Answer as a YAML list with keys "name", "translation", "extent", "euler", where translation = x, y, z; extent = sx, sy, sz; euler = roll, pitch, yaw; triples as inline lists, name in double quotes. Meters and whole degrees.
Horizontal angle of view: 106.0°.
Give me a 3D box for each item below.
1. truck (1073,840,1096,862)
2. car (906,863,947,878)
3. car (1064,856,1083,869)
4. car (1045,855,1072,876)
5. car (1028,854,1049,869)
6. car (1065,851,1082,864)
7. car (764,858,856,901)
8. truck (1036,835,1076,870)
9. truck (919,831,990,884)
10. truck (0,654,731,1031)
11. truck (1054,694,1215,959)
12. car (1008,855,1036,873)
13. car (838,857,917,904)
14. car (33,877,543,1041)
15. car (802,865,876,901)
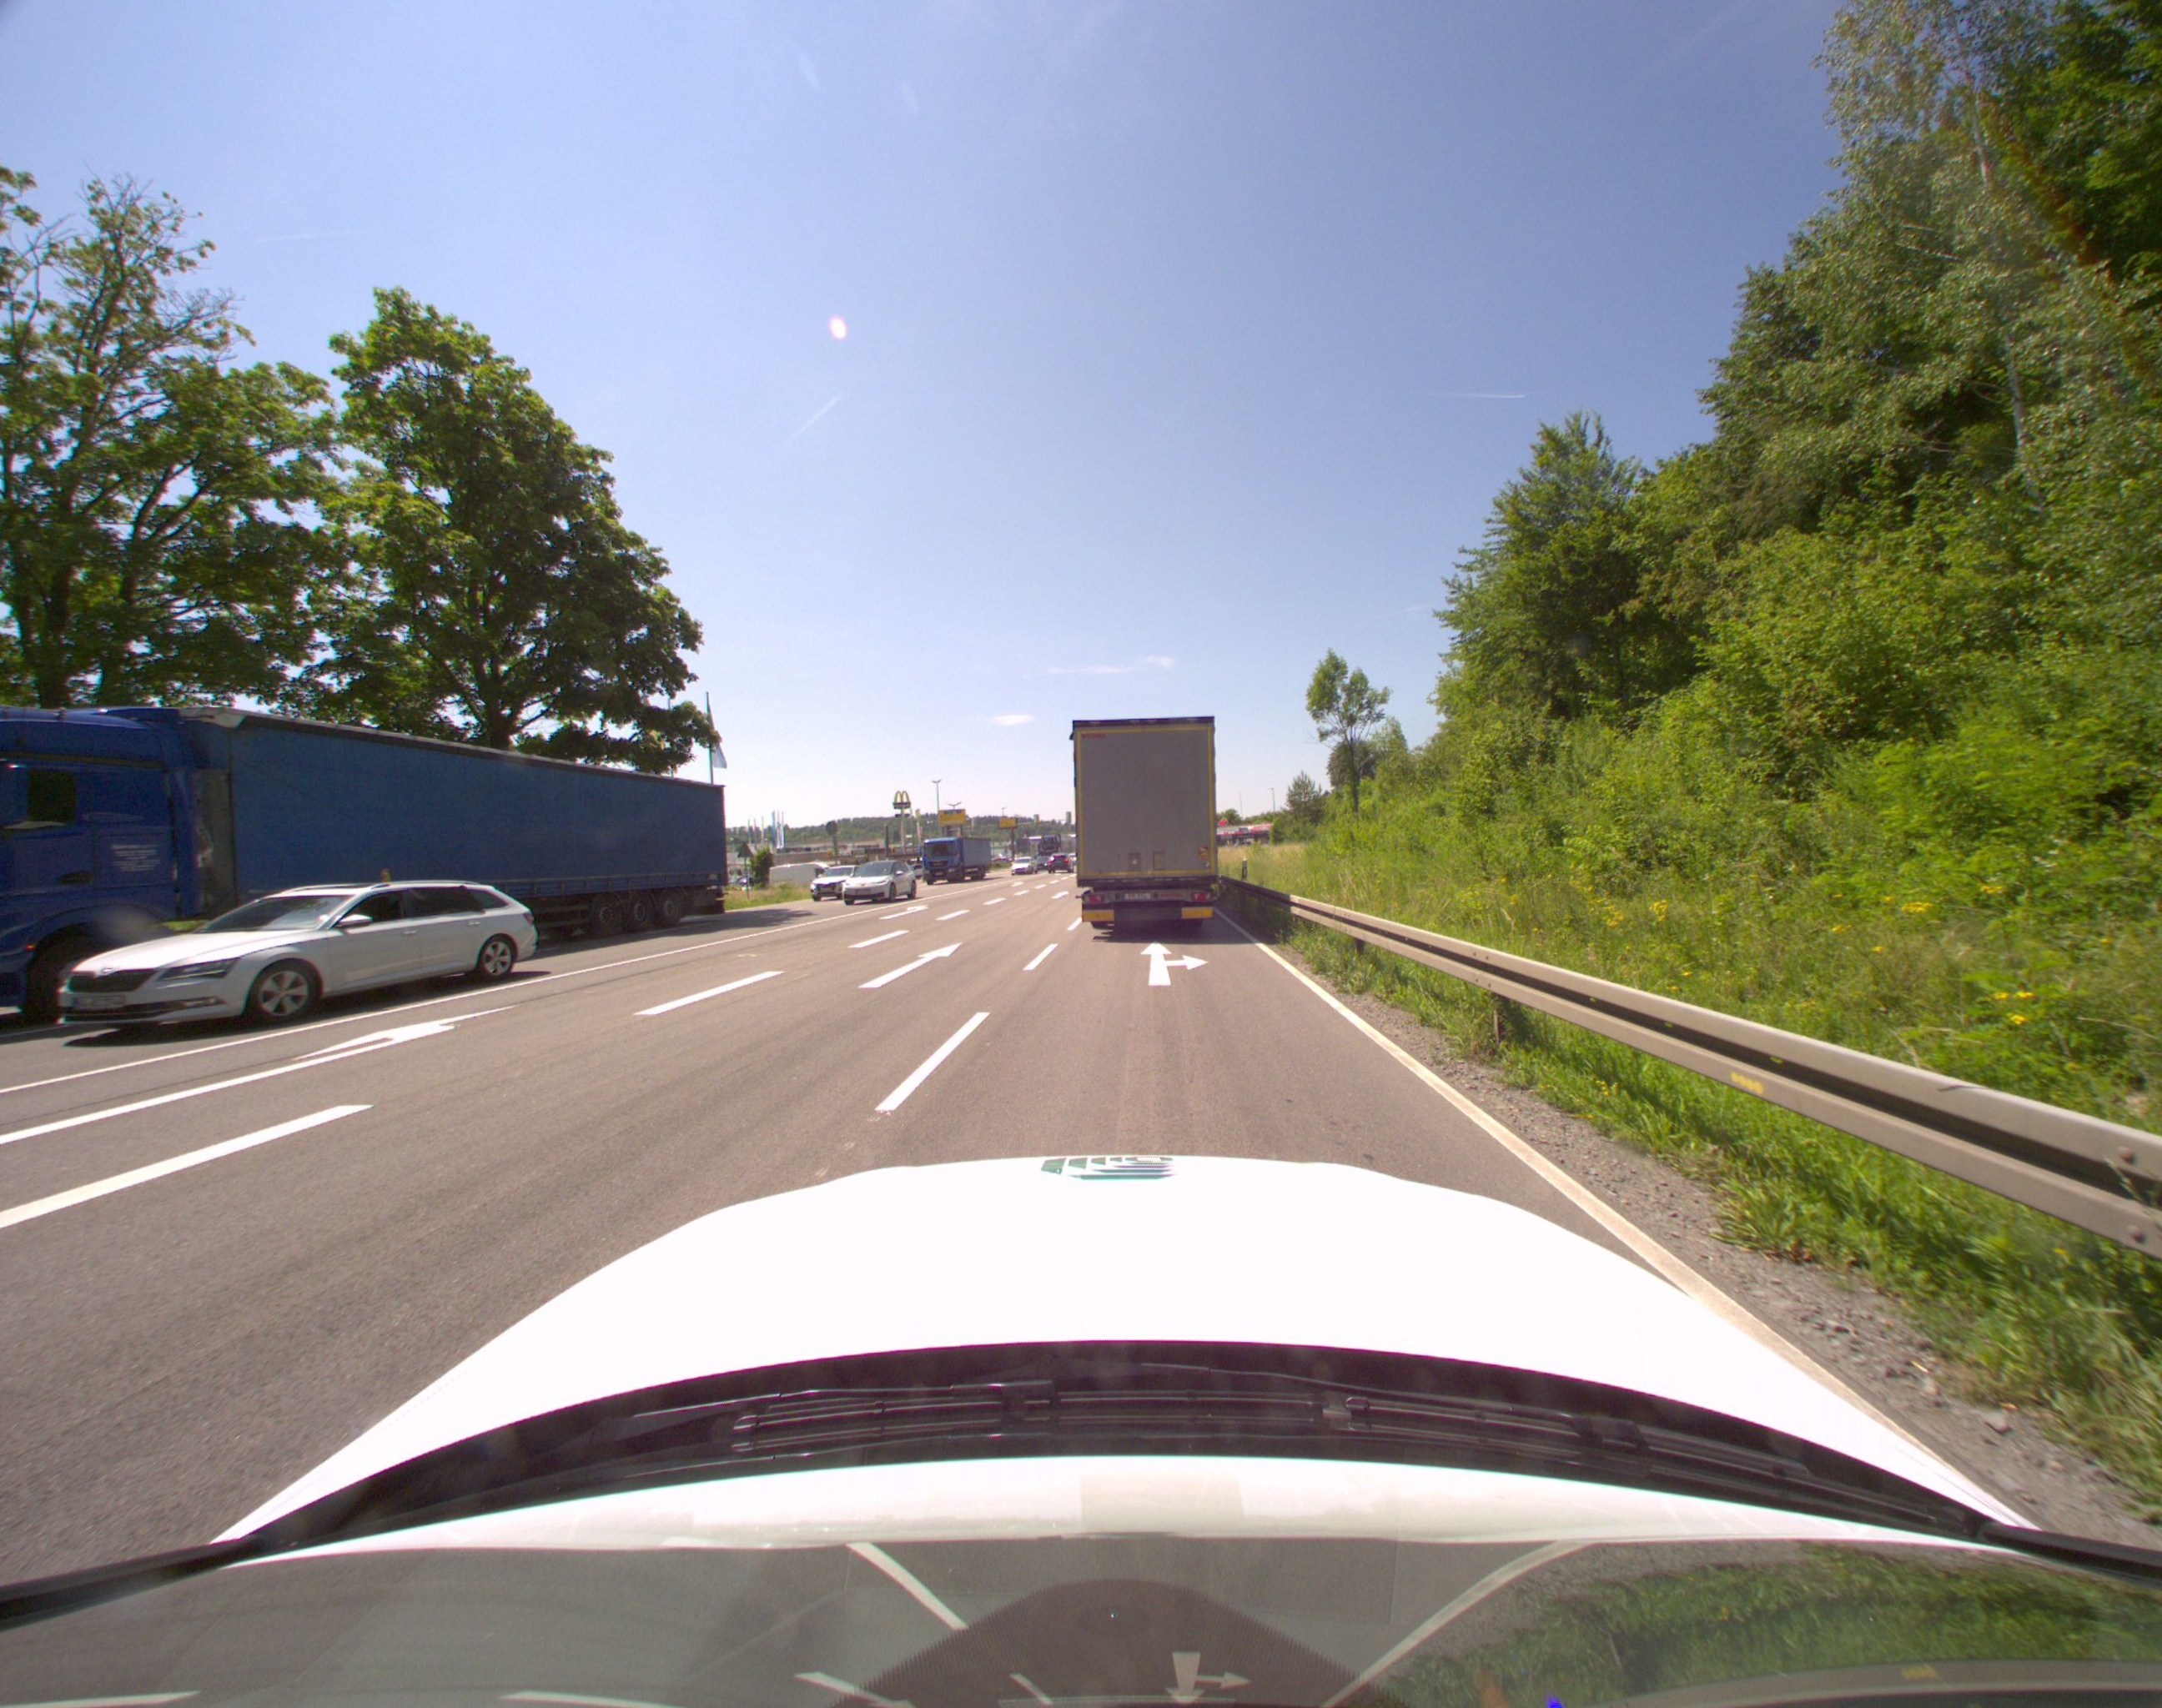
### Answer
- name: "truck"
  translation: [0.788, -0.585, 154.893]
  extent: [2.920, 3.950, 14.256]
  euler: [-3, 0, 5]
- name: "car"
  translation: [-16.509, 1.743, 86.954]
  extent: [1.767, 1.480, 4.037]
  euler: [-2, -2, 45]
- name: "car"
  translation: [-0.929, 1.022, 103.194]
  extent: [1.801, 1.508, 4.955]
  euler: [-3, 0, 6]
- name: "car"
  translation: [-1.839, 0.942, 67.906]
  extent: [1.786, 1.627, 4.373]
  euler: [-3, 0, 3]
- name: "car"
  translation: [-4.126, 0.764, 79.627]
  extent: [1.656, 1.404, 4.018]
  euler: [-1, -2, 2]
- name: "car"
  translation: [-0.928, 0.415, 102.841]
  extent: [1.732, 1.503, 4.412]
  euler: [-4, -1, 5]
- name: "car"
  translation: [-20.425, 1.874, 61.600]
  extent: [5.975, 2.487, 2.193]
  euler: [-7, 0, -2]
- name: "truck"
  translation: [-3.277, -0.253, 113.131]
  extent: [3.130, 4.349, 17.569]
  euler: [-3, 0, 6]
- name: "truck"
  translation: [-8.967, 0.286, 59.281]
  extent: [2.835, 3.351, 11.488]
  euler: [-2, 0, 2]
- name: "truck"
  translation: [-12.888, -0.042, 16.754]
  extent: [2.955, 4.176, 16.592]
  euler: [-3, 0, 4]
- name: "truck"
  translation: [1.509, -0.355, 22.781]
  extent: [2.743, 4.639, 16.671]
  euler: [-1, -1, 4]
- name: "car"
  translation: [-5.004, 0.814, 69.437]
  extent: [1.782, 1.426, 4.266]
  euler: [-1, 0, 3]
- name: "car"
  translation: [-7.707, 0.970, 31.225]
  extent: [1.786, 1.522, 4.188]
  euler: [-3, 0, 1]
- name: "car"
  translation: [-9.219, 1.090, 10.185]
  extent: [1.693, 1.415, 4.566]
  euler: [-2, 0, 3]
- name: "car"
  translation: [-10.994, 1.266, 37.330]
  extent: [1.753, 1.428, 4.185]
  euler: [-3, 0, 5]
